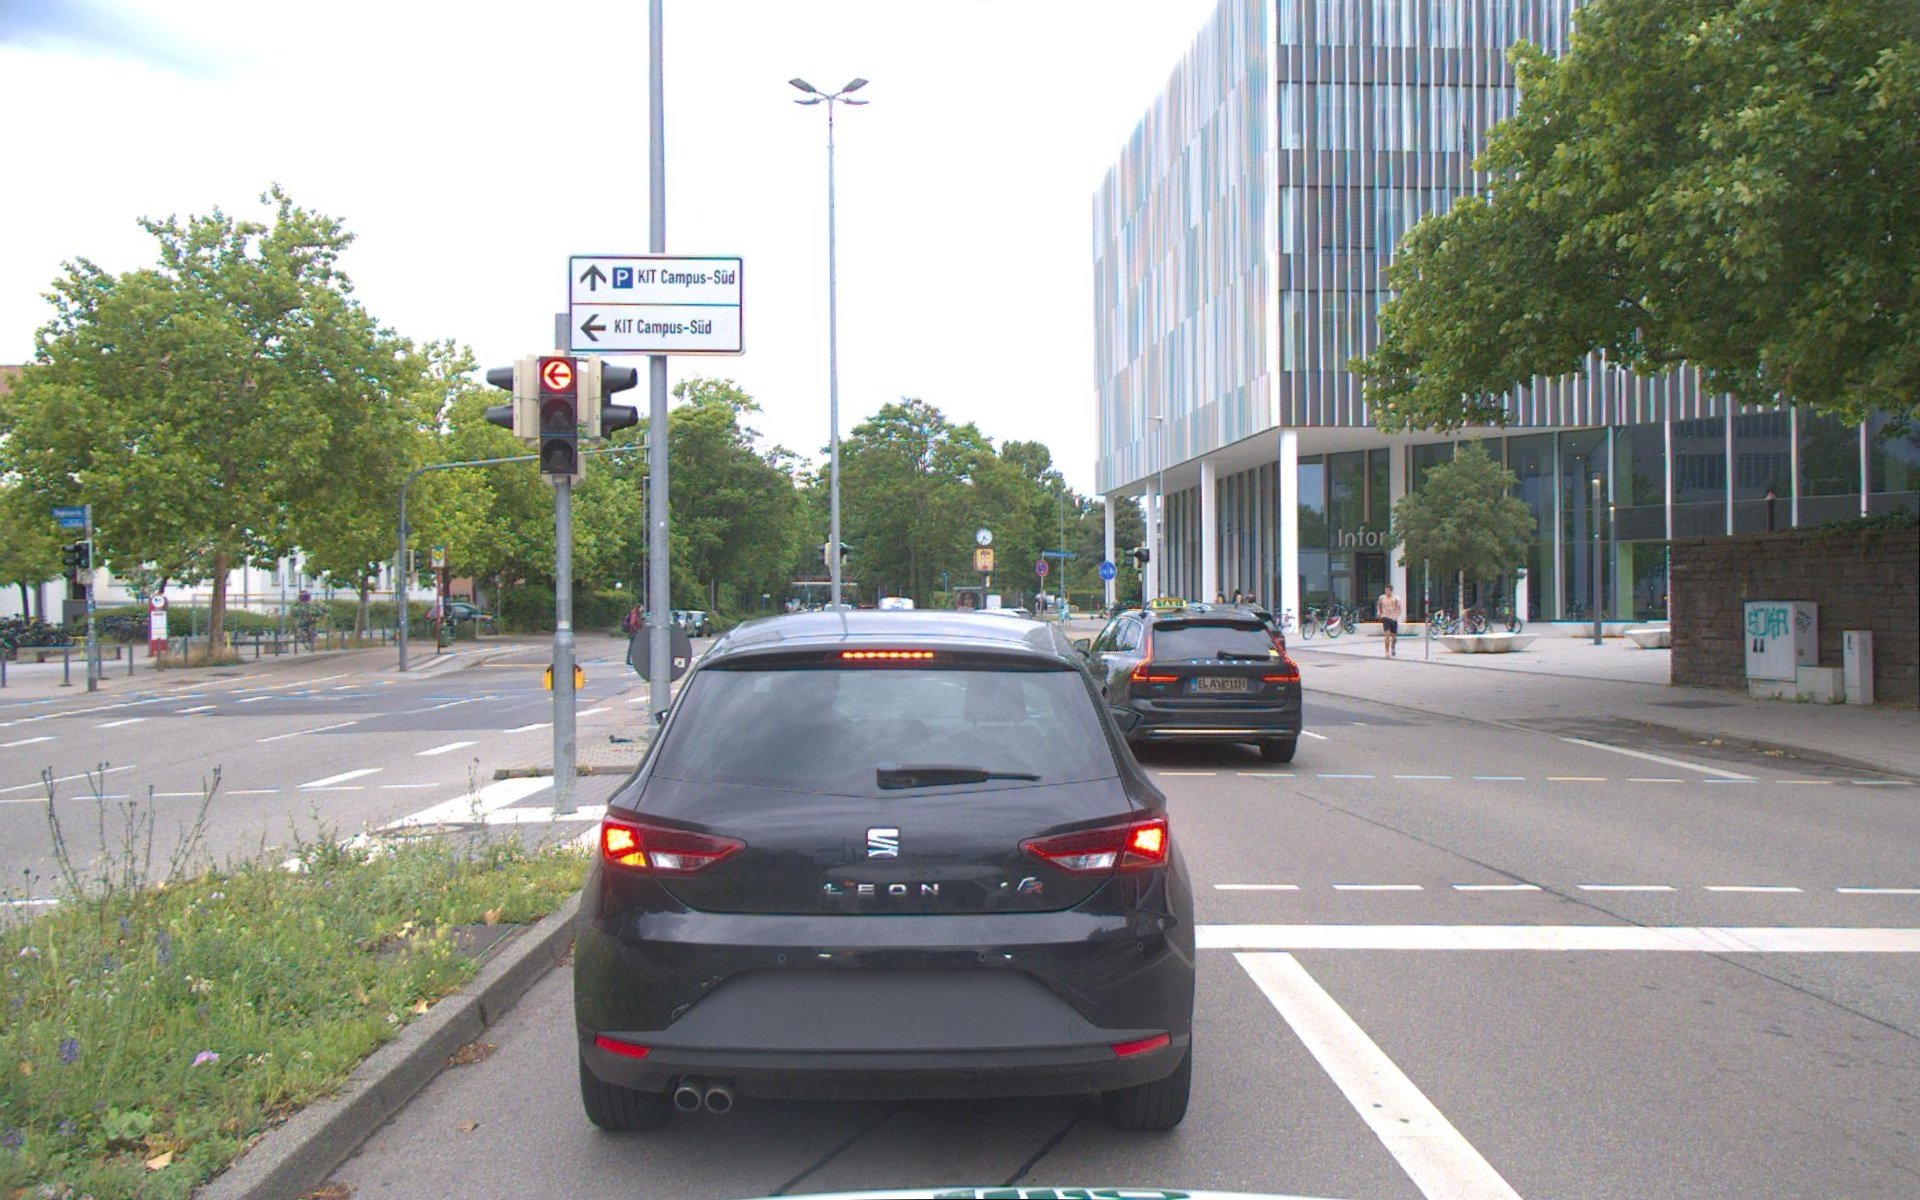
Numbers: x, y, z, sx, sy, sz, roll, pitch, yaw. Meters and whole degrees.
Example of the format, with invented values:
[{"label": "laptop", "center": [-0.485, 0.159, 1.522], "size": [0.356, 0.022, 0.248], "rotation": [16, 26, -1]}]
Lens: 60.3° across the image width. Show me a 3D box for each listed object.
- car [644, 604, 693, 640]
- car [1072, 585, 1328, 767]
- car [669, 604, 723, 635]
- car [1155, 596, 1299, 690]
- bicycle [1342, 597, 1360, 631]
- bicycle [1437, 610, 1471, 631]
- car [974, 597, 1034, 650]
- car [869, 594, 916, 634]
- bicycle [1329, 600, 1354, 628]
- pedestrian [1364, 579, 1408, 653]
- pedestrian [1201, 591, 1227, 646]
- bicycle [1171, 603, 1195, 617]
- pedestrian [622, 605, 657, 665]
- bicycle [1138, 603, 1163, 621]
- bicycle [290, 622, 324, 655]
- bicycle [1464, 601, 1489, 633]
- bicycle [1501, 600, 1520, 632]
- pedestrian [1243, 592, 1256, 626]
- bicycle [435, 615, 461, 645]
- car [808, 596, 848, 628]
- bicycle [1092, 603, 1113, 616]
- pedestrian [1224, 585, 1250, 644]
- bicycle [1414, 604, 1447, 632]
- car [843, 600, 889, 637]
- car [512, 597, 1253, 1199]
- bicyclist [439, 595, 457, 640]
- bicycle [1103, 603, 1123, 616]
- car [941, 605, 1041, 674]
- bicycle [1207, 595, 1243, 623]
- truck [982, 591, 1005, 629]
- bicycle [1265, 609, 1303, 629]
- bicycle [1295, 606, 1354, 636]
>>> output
[{"label": "car", "center": [-15.147, 1.130, 86.072], "size": [1.868, 1.747, 3.999], "rotation": [-2, 1, -1]}, {"label": "car", "center": [2.307, 0.677, 17.082], "size": [1.845, 1.628, 4.445], "rotation": [0, 0, -2]}, {"label": "car", "center": [-15.302, 1.105, 96.022], "size": [1.721, 1.615, 4.004], "rotation": [-2, 1, 12]}, {"label": "car", "center": [5.026, 0.773, 31.732], "size": [1.869, 1.653, 4.489], "rotation": [1, 0, -2]}, {"label": "bicycle", "center": [15.288, 0.526, 64.618], "size": [0.515, 1.275, 1.667], "rotation": [-2, 0, 17]}, {"label": "bicycle", "center": [18.196, 0.758, 60.915], "size": [1.515, 0.728, 0.511], "rotation": [-3, 1, -44]}, {"label": "car", "center": [1.394, 0.763, 52.597], "size": [1.787, 1.578, 4.527], "rotation": [1, -1, 1]}, {"label": "car", "center": [-3.626, 0.725, 87.890], "size": [1.930, 2.007, 4.333], "rotation": [1, 0, -10]}, {"label": "bicycle", "center": [15.539, 0.556, 67.415], "size": [0.607, 1.064, 1.704], "rotation": [-2, 1, 25]}, {"label": "pedestrian", "center": [10.663, 0.387, 41.418], "size": [0.830, 1.795, 0.767], "rotation": [-2, 0, -1]}, {"label": "pedestrian", "center": [7.774, 0.558, 50.563], "size": [0.673, 1.668, 0.632], "rotation": [1, 0, -1]}, {"label": "bicycle", "center": [11.719, 0.531, 87.029], "size": [1.213, 0.717, 0.489], "rotation": [-2, 0, 8]}, {"label": "pedestrian", "center": [-8.927, 0.970, 46.081], "size": [0.858, 1.614, 0.542], "rotation": [-2, 0, -8]}, {"label": "bicycle", "center": [10.606, 0.663, 92.008], "size": [1.357, 0.958, 0.488], "rotation": [-1, 0, 6]}, {"label": "bicycle", "center": [-23.328, 1.368, 59.140], "size": [0.596, 1.079, 2.041], "rotation": [-2, 0, -7]}, {"label": "bicycle", "center": [18.711, 0.606, 59.880], "size": [0.792, 1.074, 1.950], "rotation": [-2, 1, 19]}, {"label": "bicycle", "center": [19.617, 0.571, 58.969], "size": [0.609, 1.074, 1.950], "rotation": [-2, 1, 19]}, {"label": "pedestrian", "center": [12.051, 0.388, 68.895], "size": [0.462, 1.385, 0.446], "rotation": [-2, 0, 9]}, {"label": "bicycle", "center": [-18.765, 1.078, 60.637], "size": [0.478, 1.023, 1.589], "rotation": [1, 1, -1]}, {"label": "car", "center": [-6.886, 0.614, 86.086], "size": [1.698, 1.631, 4.096], "rotation": [0, 0, -10]}, {"label": "bicycle", "center": [9.408, 0.625, 109.124], "size": [1.241, 0.863, 0.479], "rotation": [2, -1, -23]}, {"label": "pedestrian", "center": [8.479, 0.437, 50.673], "size": [0.673, 1.812, 0.677], "rotation": [0, 0, -1]}, {"label": "bicycle", "center": [17.531, 0.660, 61.598], "size": [0.682, 0.963, 1.981], "rotation": [-2, 1, 29]}, {"label": "car", "center": [-3.923, 0.757, 68.599], "size": [1.689, 1.439, 4.240], "rotation": [1, 1, -6]}, {"label": "car", "center": [-0.133, 0.732, 5.747], "size": [1.717, 1.457, 3.770], "rotation": [1, 0, 1]}, {"label": "bicyclist", "center": [-18.756, 0.636, 60.623], "size": [0.481, 1.653, 0.588], "rotation": [1, 1, -1]}, {"label": "bicycle", "center": [9.915, 0.602, 107.004], "size": [1.218, 0.837, 0.479], "rotation": [2, -1, -23]}, {"label": "car", "center": [0.654, 0.862, 37.860], "size": [1.747, 1.488, 3.865], "rotation": [0, 0, -7]}, {"label": "bicycle", "center": [12.478, 0.413, 77.915], "size": [1.758, 1.232, 0.563], "rotation": [-2, 0, -35]}, {"label": "truck", "center": [2.094, 0.593, 104.091], "size": [1.291, 2.282, 3.401], "rotation": [-2, 0, -1]}, {"label": "bicycle", "center": [13.702, 0.794, 69.875], "size": [1.450, 0.761, 0.565], "rotation": [-2, 0, -4]}, {"label": "bicycle", "center": [12.422, 0.712, 56.376], "size": [1.860, 0.914, 0.693], "rotation": [-2, 0, -22]}]
